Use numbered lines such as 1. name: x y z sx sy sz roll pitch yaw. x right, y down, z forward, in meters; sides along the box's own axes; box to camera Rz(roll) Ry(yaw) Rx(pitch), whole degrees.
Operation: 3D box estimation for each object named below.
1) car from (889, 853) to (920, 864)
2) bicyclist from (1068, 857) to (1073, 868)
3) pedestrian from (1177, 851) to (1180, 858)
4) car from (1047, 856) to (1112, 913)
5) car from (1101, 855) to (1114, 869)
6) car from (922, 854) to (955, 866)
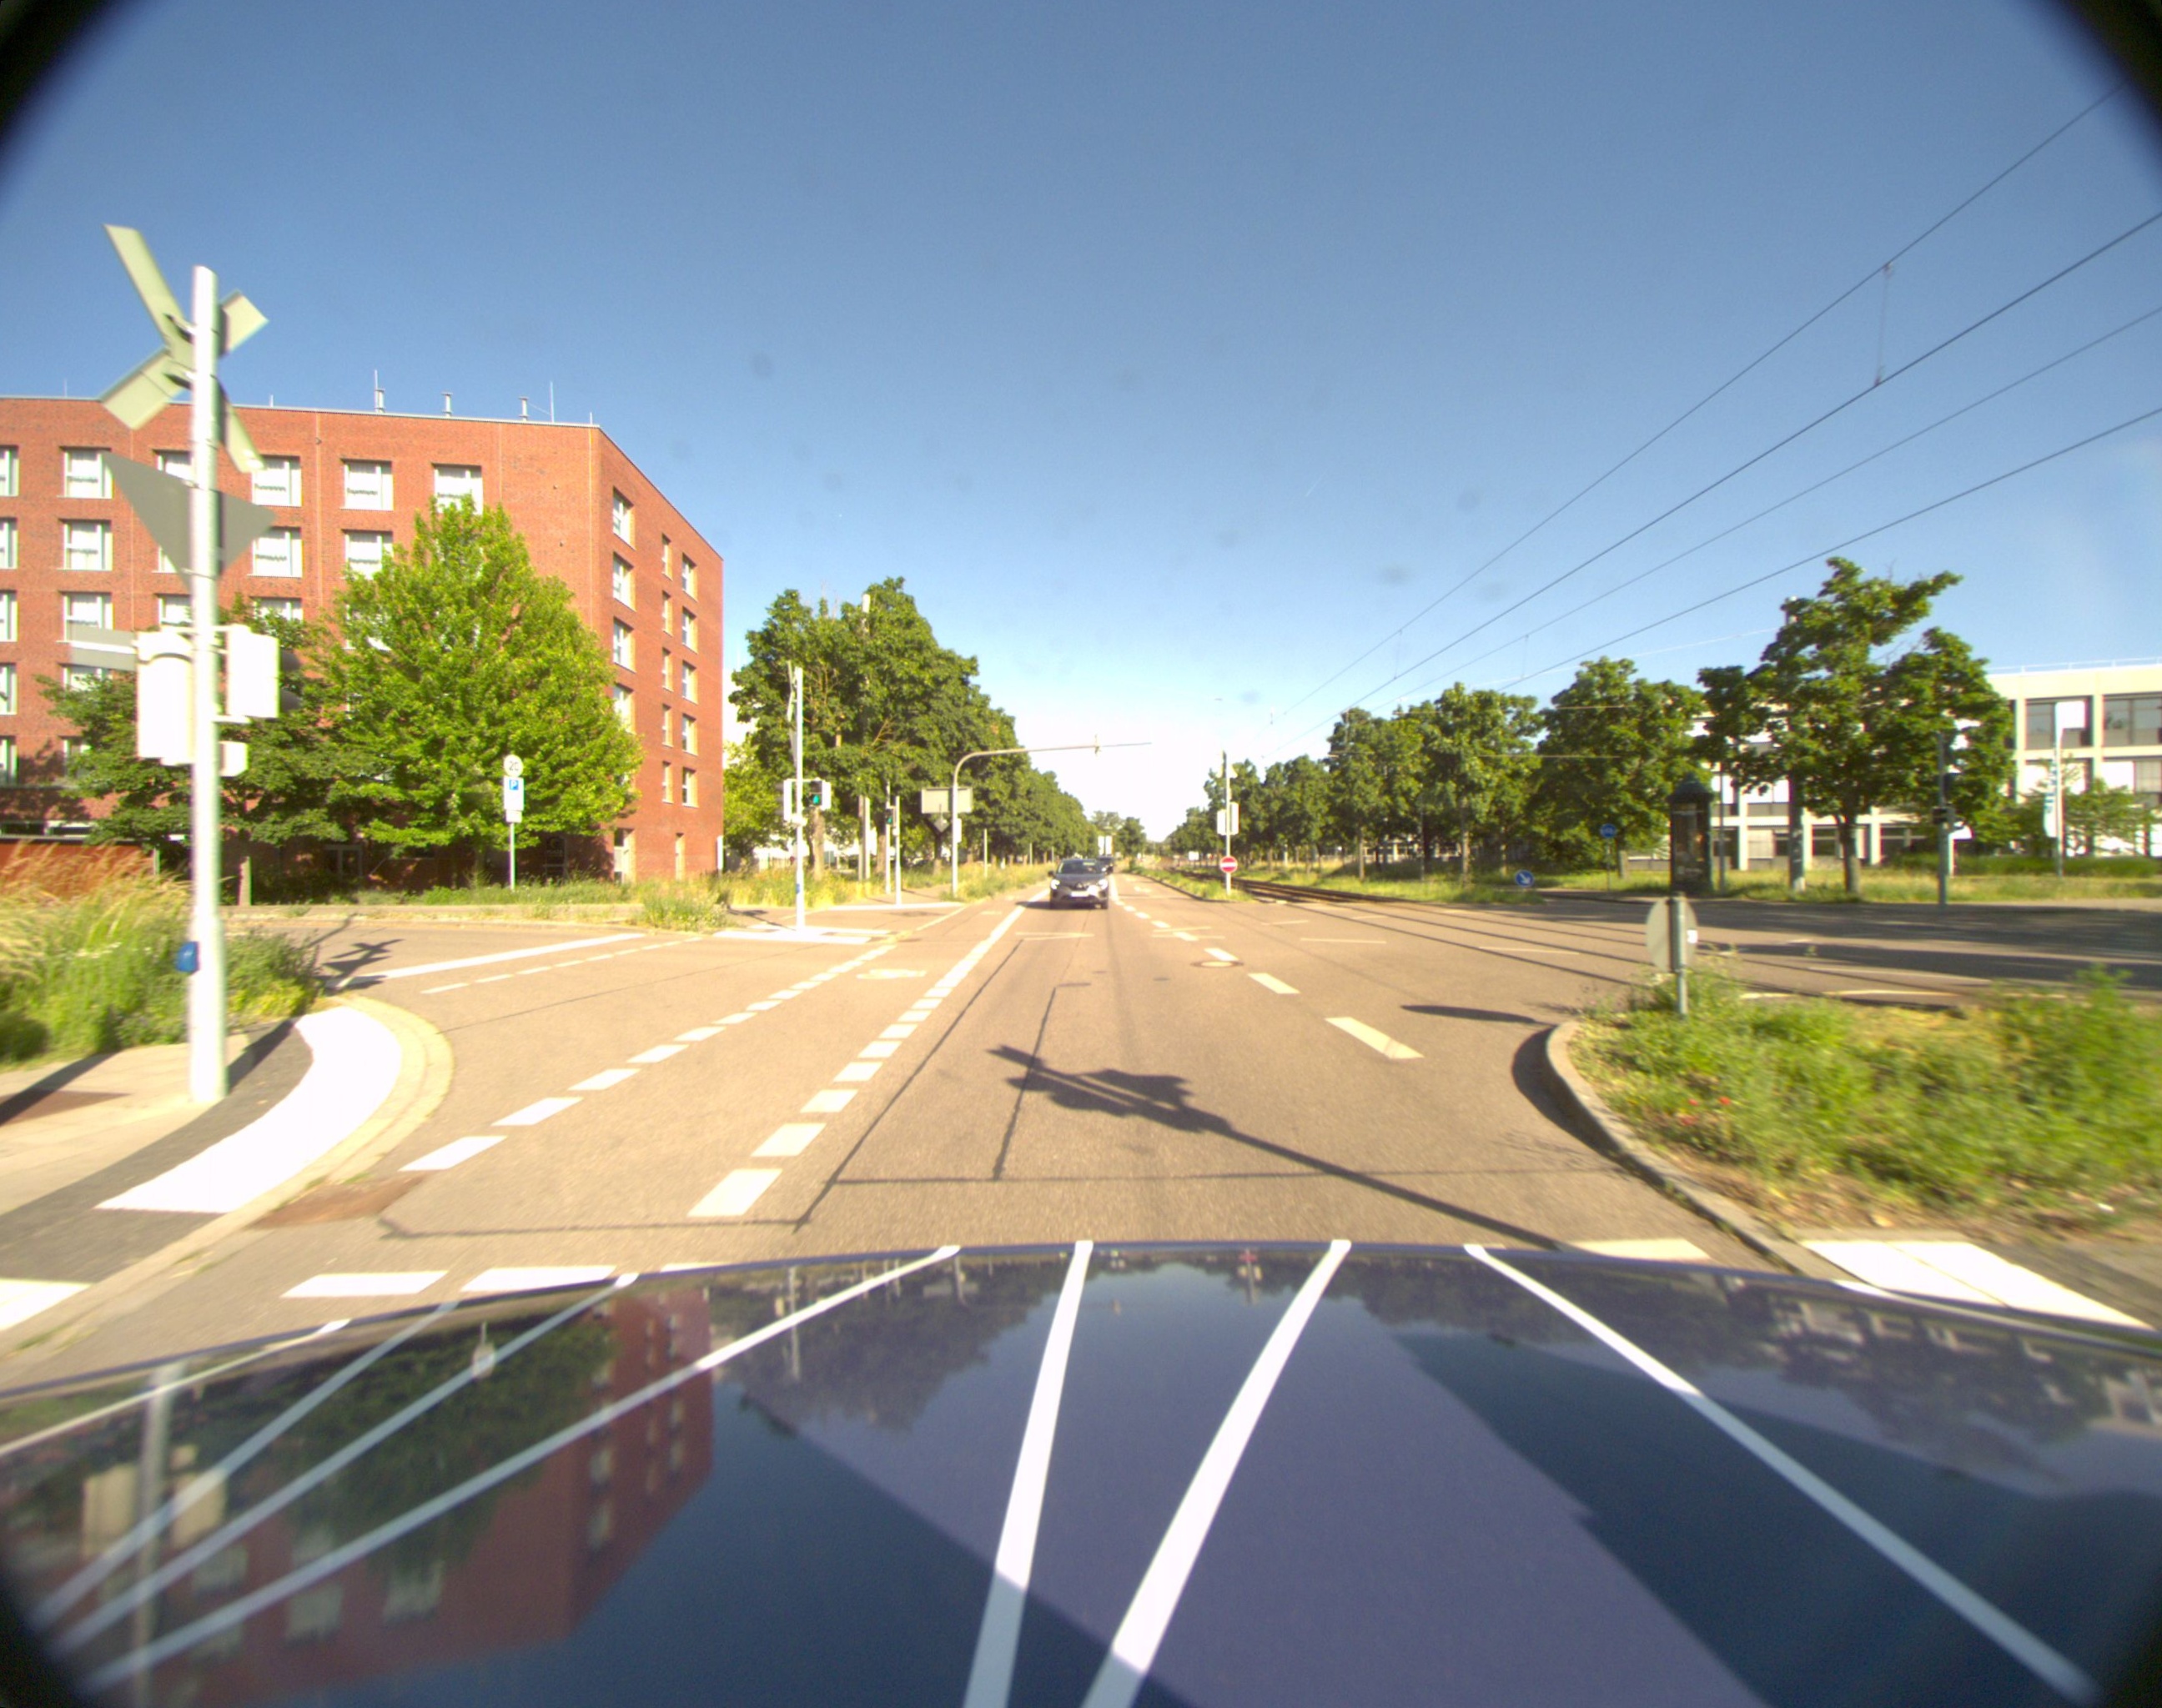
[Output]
1. car: -29.848 0.789 128.864 4.759 1.938 1.975 0 0 4
2. bicyclist: -1.696 1.384 123.433 0.684 1.710 0.902 0 1 4
3. pedestrian: 25.107 0.176 196.002 0.785 1.741 0.782 -1 0 5
4. car: 0.036 0.911 24.881 1.749 1.585 4.247 1 1 4
5. car: 3.507 1.054 99.139 1.554 1.764 3.458 0 0 5
6. car: -18.886 0.813 100.789 4.038 1.496 1.739 0 0 5
